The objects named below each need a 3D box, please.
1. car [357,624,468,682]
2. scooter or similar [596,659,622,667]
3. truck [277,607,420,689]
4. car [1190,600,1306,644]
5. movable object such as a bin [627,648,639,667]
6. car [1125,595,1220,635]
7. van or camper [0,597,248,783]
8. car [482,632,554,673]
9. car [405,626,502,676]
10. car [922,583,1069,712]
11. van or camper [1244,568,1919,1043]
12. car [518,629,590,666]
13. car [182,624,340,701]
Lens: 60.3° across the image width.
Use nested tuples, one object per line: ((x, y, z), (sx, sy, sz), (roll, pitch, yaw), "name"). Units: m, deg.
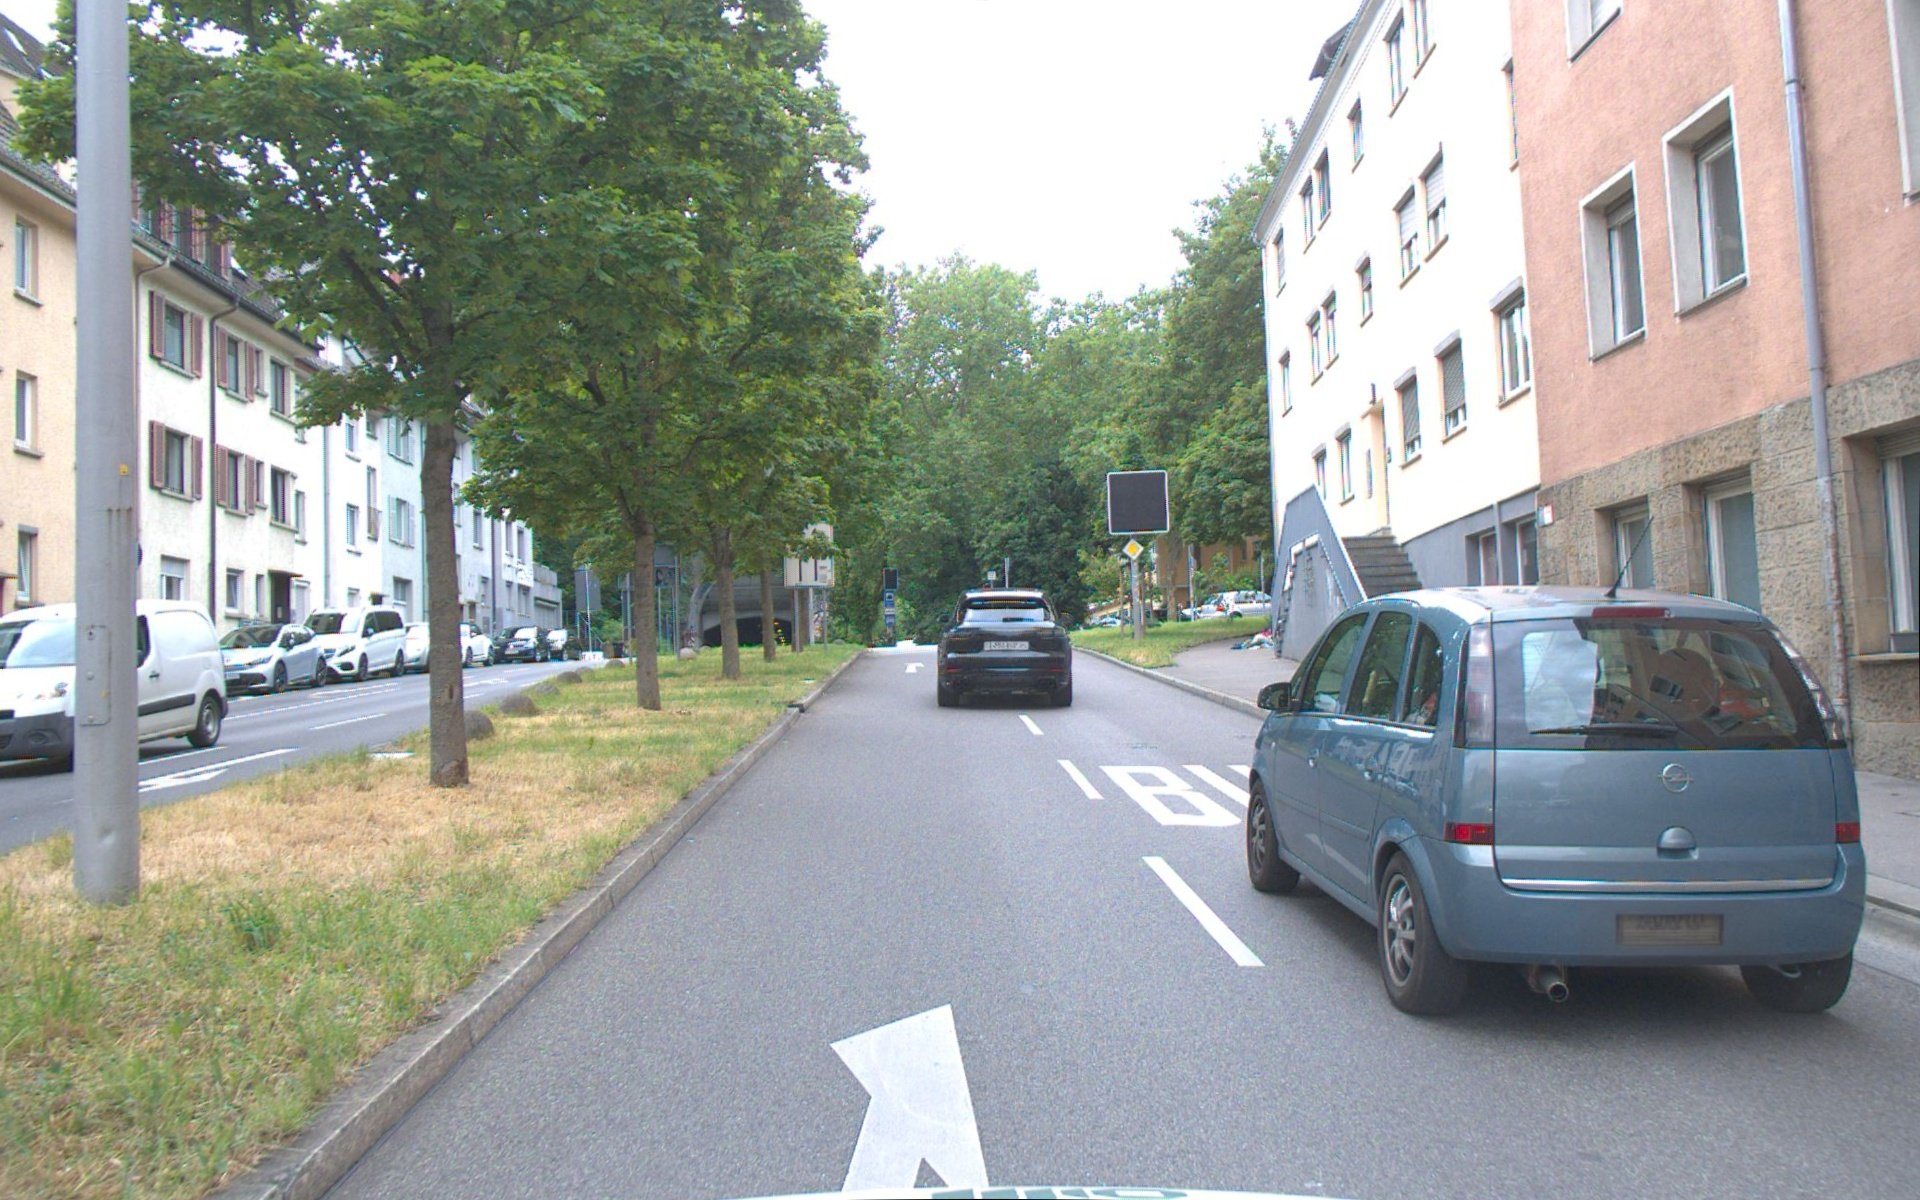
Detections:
((-16.341, 1.552, 49.583), (1.954, 1.579, 4.379), (-2, -1, -2), "car")
((-16.363, 2.924, 77.113), (1.106, 0.293, 1.094), (-3, -3, -17), "scooter or similar")
((-16.174, 1.241, 44.070), (1.954, 1.953, 5.344), (-2, -1, -2), "truck")
((11.194, 0.839, 64.386), (4.059, 1.453, 1.851), (-3, 0, -21), "car")
((-17.003, 3.001, 85.990), (0.507, 0.984, 0.442), (2, -4, -17), "movable object such as a bin")
((8.924, 0.616, 69.297), (1.965, 1.442, 3.975), (-4, -1, 43), "car")
((-9.899, 0.941, 18.485), (1.869, 1.792, 4.653), (-3, -1, -1), "van or camper")
((-17.026, 2.002, 63.889), (1.955, 1.448, 4.207), (-2, -1, -5), "car")
((-16.652, 1.658, 54.604), (1.953, 1.500, 4.157), (-2, -1, -1), "car")
((0.490, 0.697, 24.886), (1.953, 1.682, 3.999), (-3, -1, 0), "car")
((2.487, 0.703, 7.448), (1.700, 1.605, 3.644), (0, 0, -2), "van or camper")
((-16.948, 1.979, 69.229), (1.953, 1.425, 4.516), (-2, -1, -1), "car")
((-16.035, 1.392, 38.178), (1.954, 1.579, 4.156), (-2, -1, -2), "car")
